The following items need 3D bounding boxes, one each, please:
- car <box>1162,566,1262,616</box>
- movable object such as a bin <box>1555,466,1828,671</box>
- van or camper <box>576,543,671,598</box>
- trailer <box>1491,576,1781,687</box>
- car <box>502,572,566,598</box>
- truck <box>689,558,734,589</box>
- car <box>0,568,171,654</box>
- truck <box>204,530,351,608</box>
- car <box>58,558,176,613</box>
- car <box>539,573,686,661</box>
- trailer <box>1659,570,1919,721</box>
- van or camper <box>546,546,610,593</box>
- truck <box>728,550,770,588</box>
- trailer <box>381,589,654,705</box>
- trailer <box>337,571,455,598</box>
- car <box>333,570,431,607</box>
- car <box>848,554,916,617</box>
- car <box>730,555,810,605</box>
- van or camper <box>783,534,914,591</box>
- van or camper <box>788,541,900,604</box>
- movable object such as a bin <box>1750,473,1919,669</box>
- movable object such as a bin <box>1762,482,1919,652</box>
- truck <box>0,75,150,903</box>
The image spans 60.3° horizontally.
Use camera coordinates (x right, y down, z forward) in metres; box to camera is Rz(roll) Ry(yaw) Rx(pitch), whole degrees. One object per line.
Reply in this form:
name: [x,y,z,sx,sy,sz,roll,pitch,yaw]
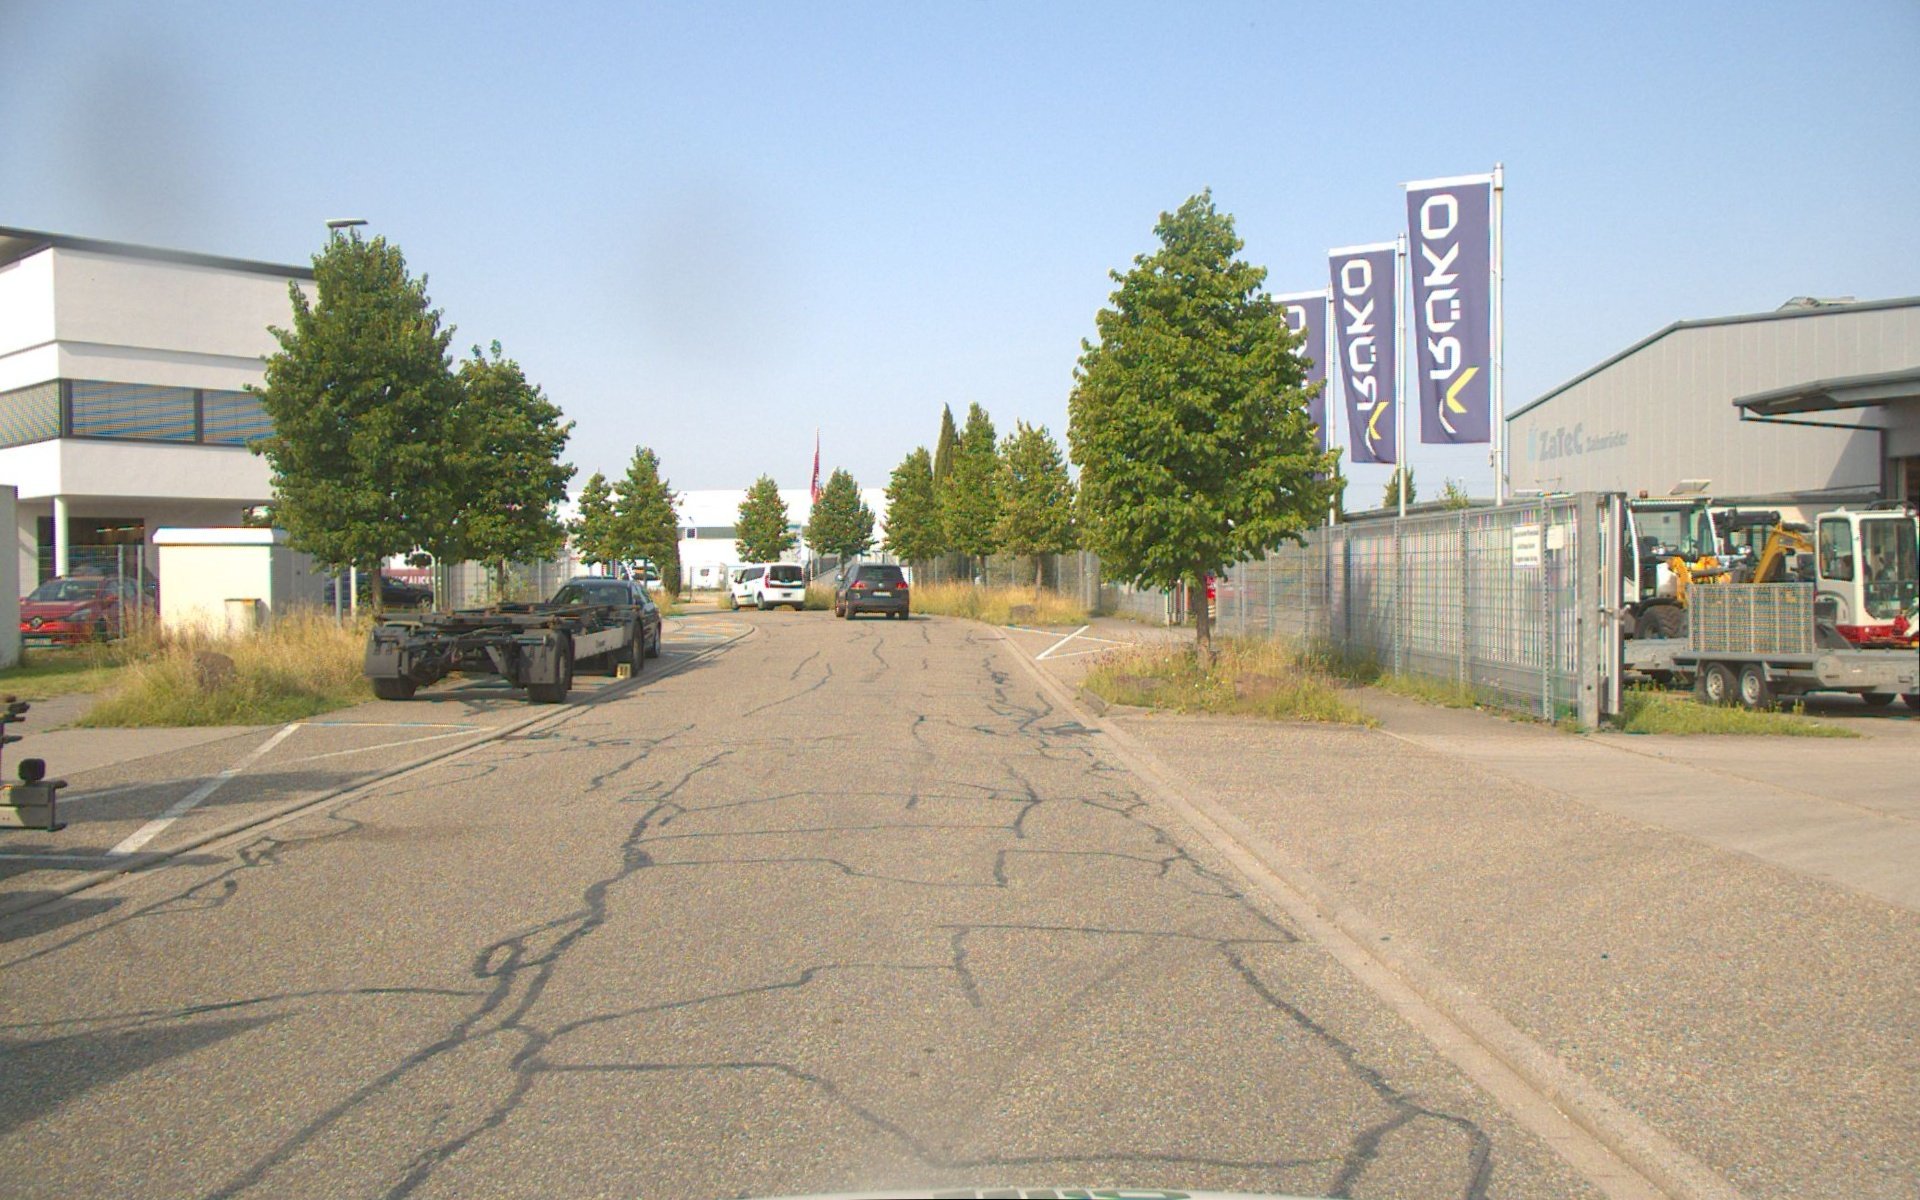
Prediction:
car: [7.384,-0.292,48.898,1.844,1.381,4.769,-1,1,-5]
movable object such as a bin: [11.063,-0.486,25.491,1.848,2.800,5.159,-1,1,-1]
van or camper: [-18.881,-1.652,92.553,2.315,2.994,6.874,-1,1,-39]
trailer: [8.723,0.346,21.784,1.905,1.265,4.292,-1,1,-3]
car: [-25.670,-0.899,99.836,2.119,1.502,4.004,0,1,14]
truck: [-19.488,-2.113,130.168,2.400,2.304,8.002,0,1,-1]
car: [-17.783,0.170,33.722,1.736,1.551,4.299,-1,2,-7]
truck: [-36.981,-1.599,89.215,12.701,3.997,2.616,0,1,45]
car: [-24.385,-0.432,47.791,3.932,1.513,1.857,0,1,44]
car: [-6.609,0.276,31.926,1.953,1.492,4.432,1,2,-1]
trailer: [9.128,0.392,16.979,1.953,1.333,4.563,0,0,0]
van or camper: [-26.251,-2.155,113.963,2.742,3.137,7.968,0,2,-2]
truck: [-16.565,-2.435,130.200,2.400,2.875,8.002,0,1,-1]
trailer: [-6.124,0.563,23.992,2.086,1.254,7.157,1,2,-1]
trailer: [-33.617,-0.897,98.360,9.290,1.412,2.616,0,4,43]
car: [-23.578,-0.459,67.554,1.567,1.479,3.485,0,0,40]
car: [-2.348,-0.458,50.861,1.953,1.836,3.999,1,1,-1]
car: [-7.620,-0.811,65.900,1.967,1.932,4.435,-1,1,-23]
van or camper: [-6.266,-2.096,92.132,7.122,3.085,2.581,-1,1,-8]
van or camper: [-5.743,-1.320,80.692,2.327,2.897,7.261,-1,1,-32]
movable object such as a bin: [13.223,-0.428,23.397,1.951,2.501,4.766,-1,1,2]
movable object such as a bin: [15.759,-0.559,26.823,2.863,2.535,5.338,-1,1,-1]
truck: [-5.780,-0.514,4.397,2.405,3.949,9.802,1,0,0]
